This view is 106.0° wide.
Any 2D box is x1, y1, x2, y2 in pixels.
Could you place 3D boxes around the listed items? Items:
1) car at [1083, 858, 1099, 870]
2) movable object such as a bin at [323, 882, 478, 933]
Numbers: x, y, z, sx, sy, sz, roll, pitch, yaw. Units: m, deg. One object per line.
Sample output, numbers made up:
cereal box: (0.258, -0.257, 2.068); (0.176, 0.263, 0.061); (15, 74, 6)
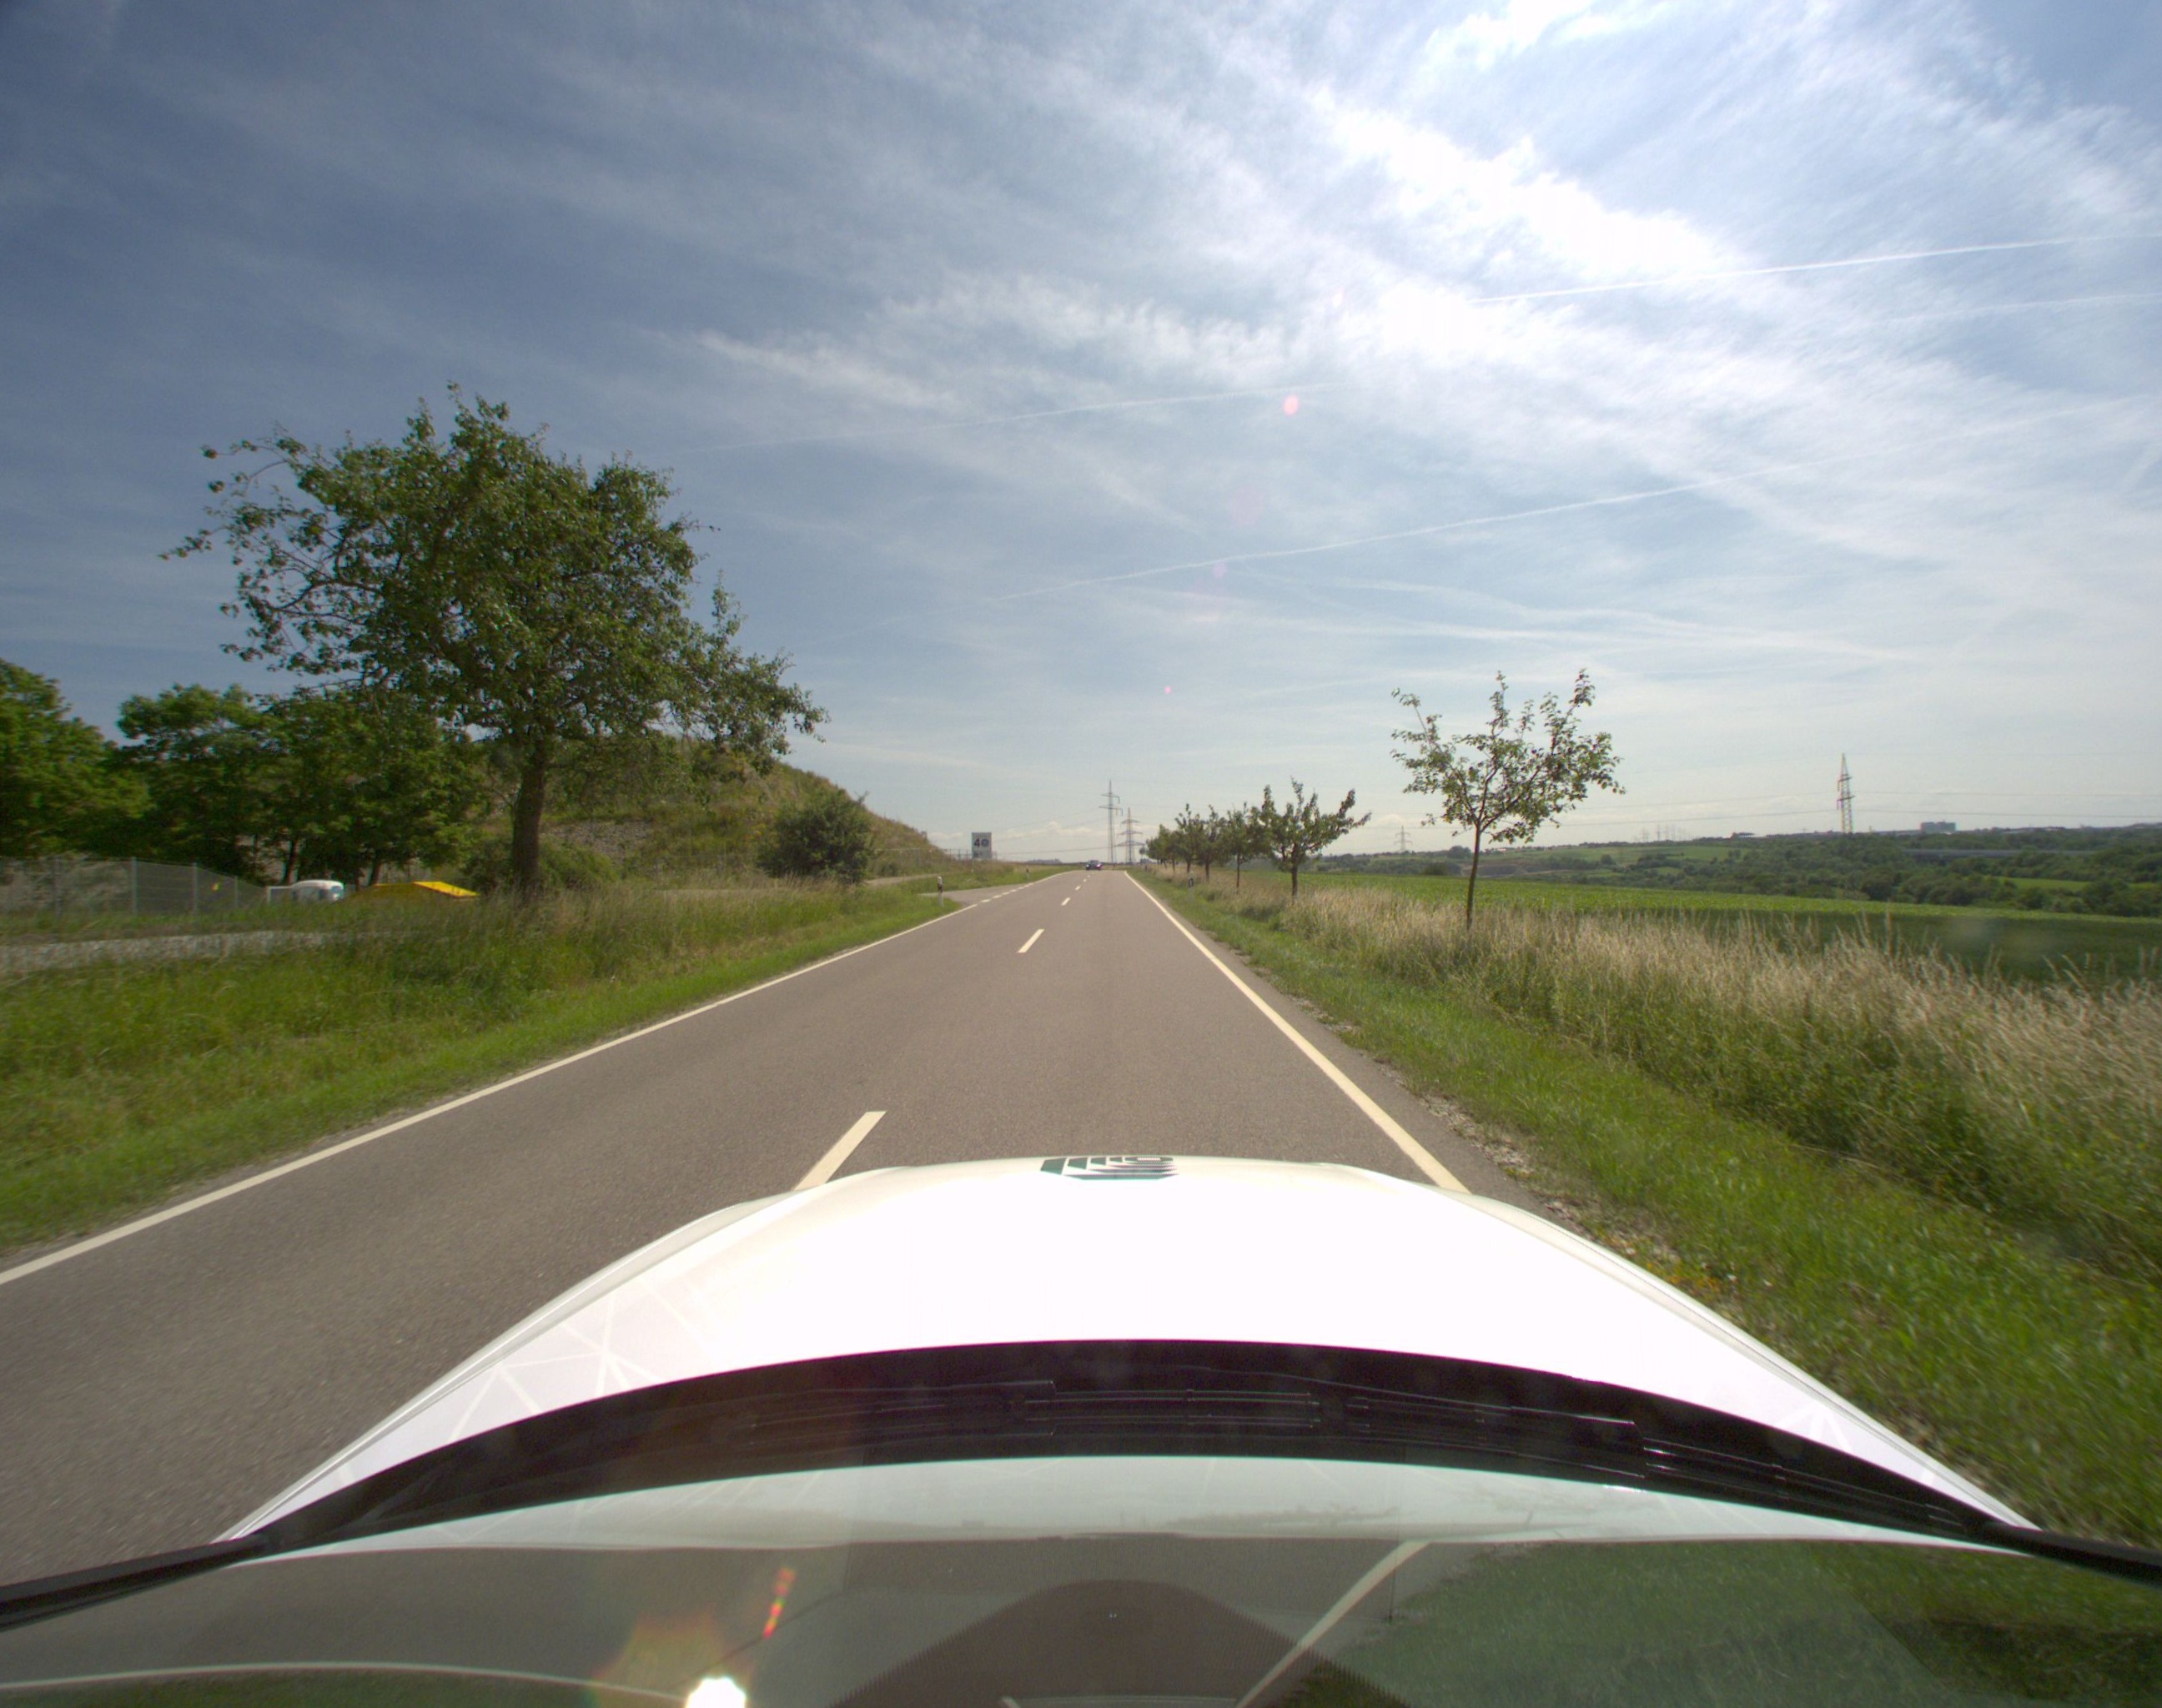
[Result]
car: (1.357, 1.263, 103.954); (1.815, 1.410, 4.004); (-1, 0, 4)
movable object such as a bin: (-27.674, 2.136, 33.302); (4.280, 1.915, 2.164); (0, 0, -12)
